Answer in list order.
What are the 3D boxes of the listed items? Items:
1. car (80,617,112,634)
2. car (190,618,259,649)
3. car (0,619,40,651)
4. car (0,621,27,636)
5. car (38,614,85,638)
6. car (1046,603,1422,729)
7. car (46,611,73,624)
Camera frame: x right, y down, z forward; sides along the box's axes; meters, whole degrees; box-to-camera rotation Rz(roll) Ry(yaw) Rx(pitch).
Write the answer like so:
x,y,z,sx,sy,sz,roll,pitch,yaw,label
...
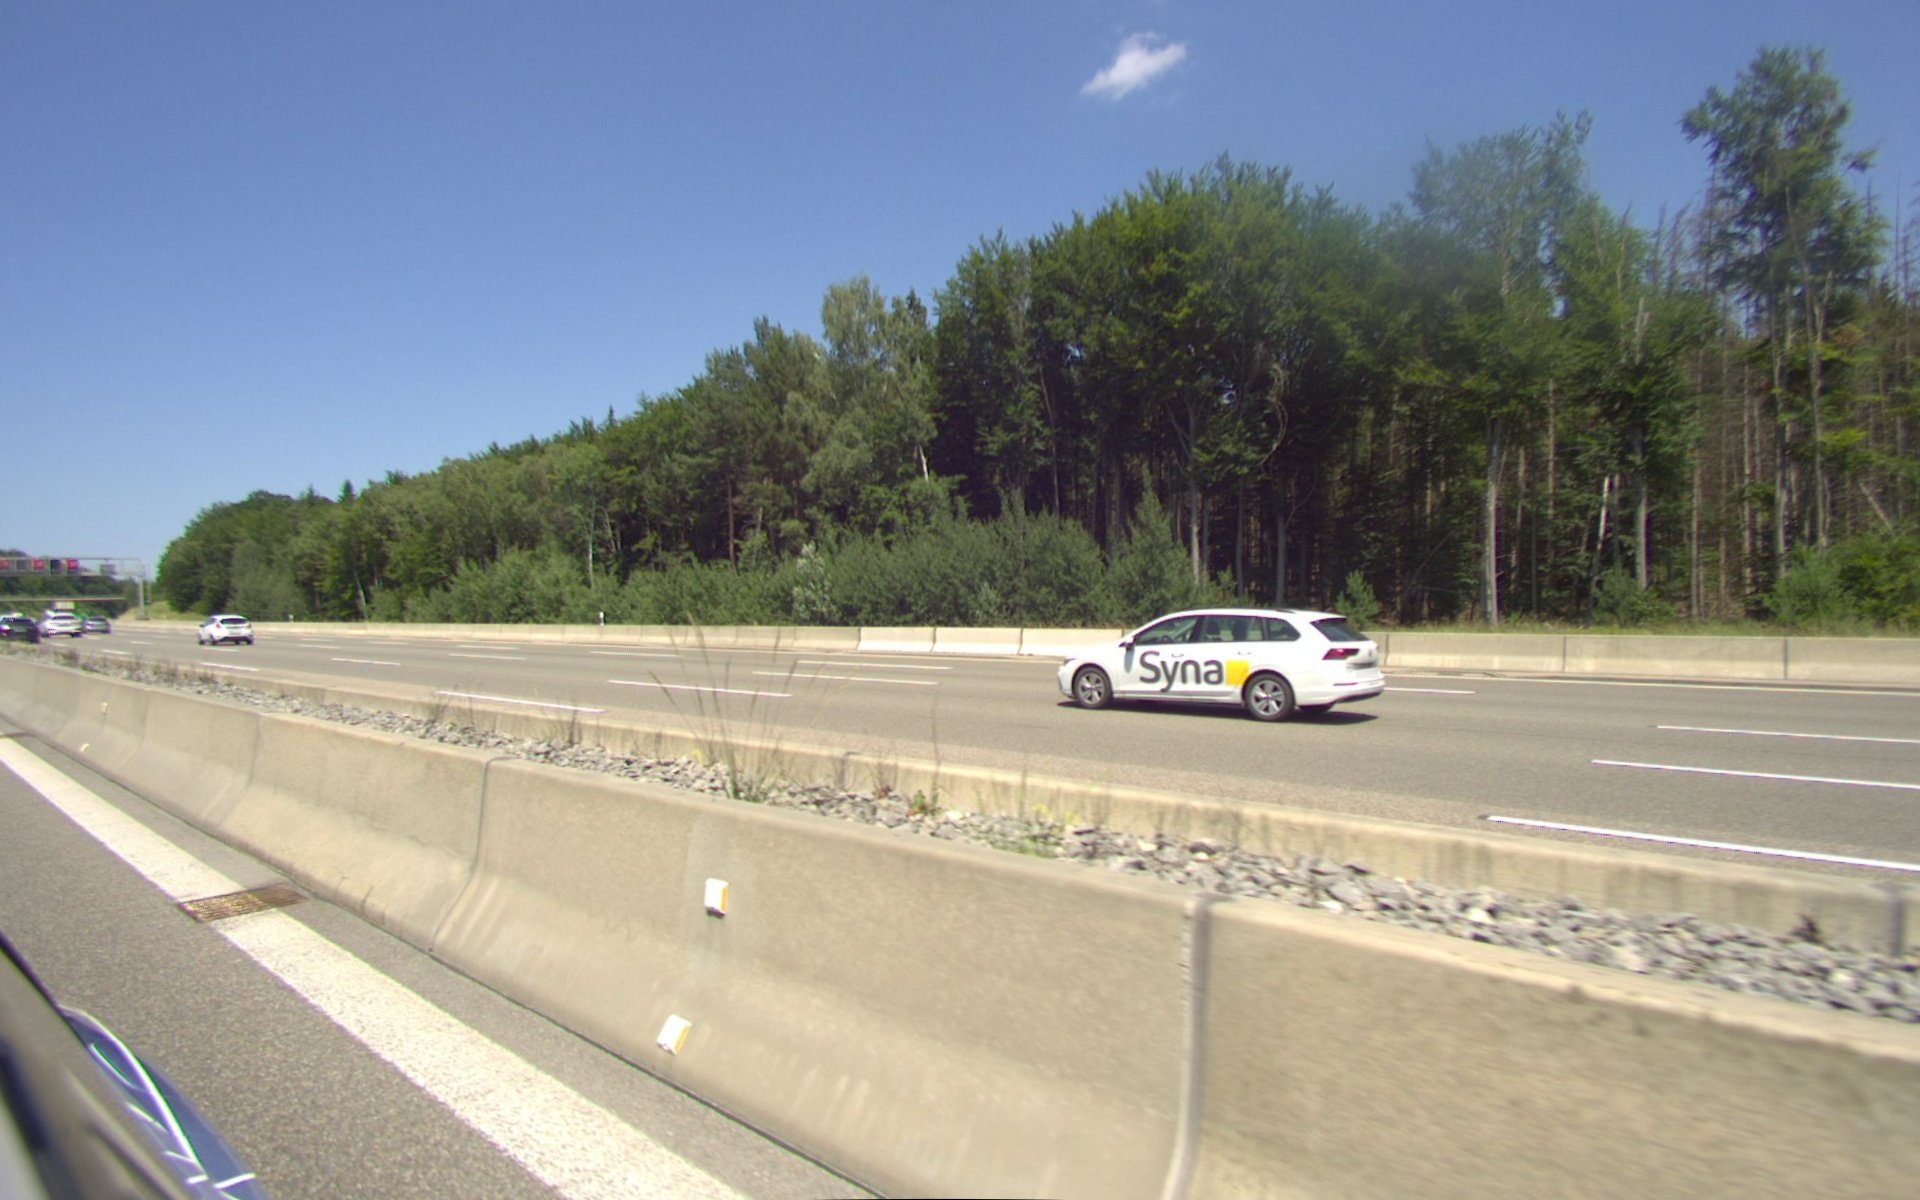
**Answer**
x,y,z,sx,sy,sz,roll,pitch,yaw,label
-72.814,2.113,85.252,2.906,1.364,1.628,-1,0,41,car
-36.520,1.625,50.230,3.866,1.410,1.973,-1,0,41,car
-51.708,1.871,55.110,3.998,1.658,1.973,-1,0,41,car
-92.556,2.809,98.799,3.999,1.364,1.741,-1,0,42,car
-60.336,1.738,67.970,3.736,1.497,1.897,-1,0,41,car
3.643,0.813,14.066,4.780,1.475,1.712,-1,-1,40,car
-92.717,1.786,104.213,3.999,1.364,1.628,-1,0,42,car
